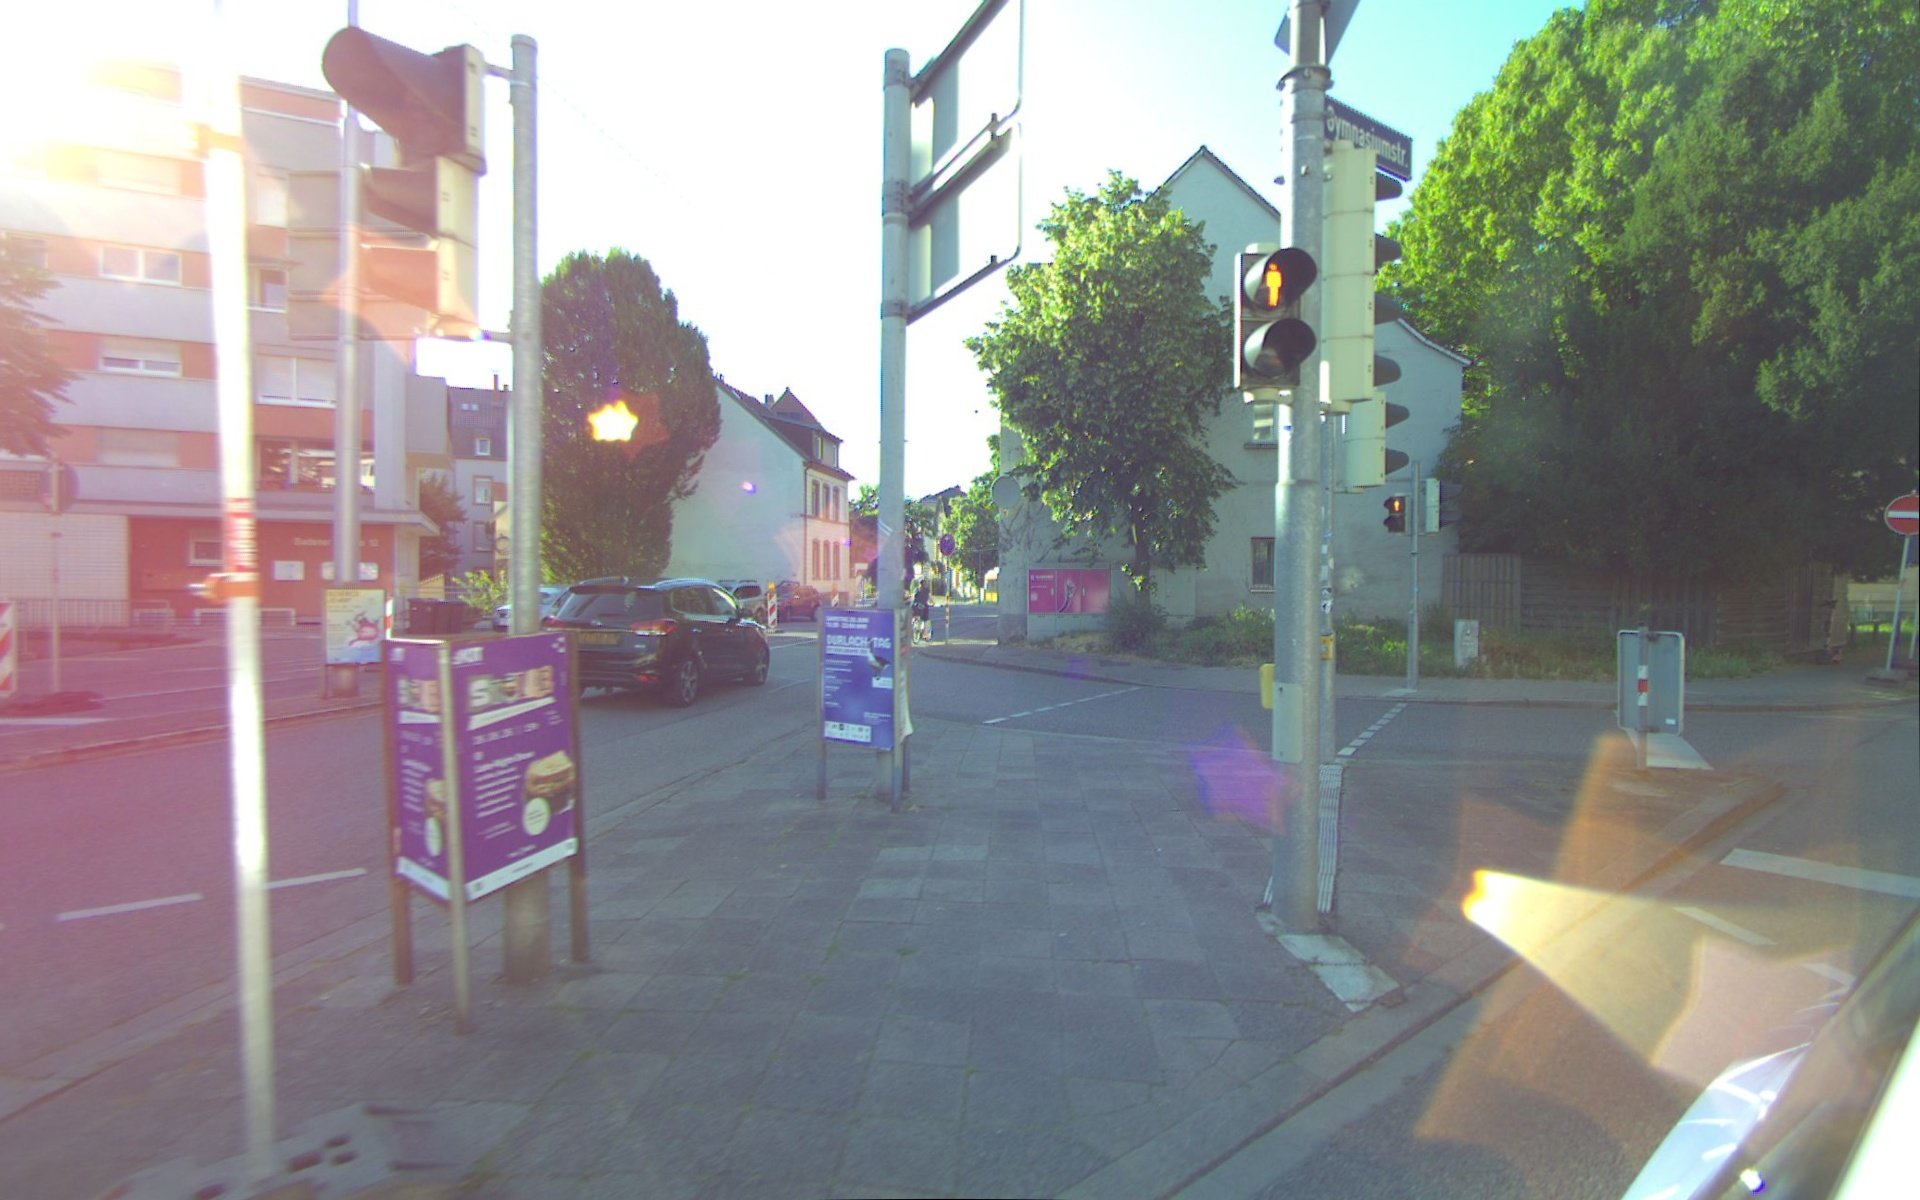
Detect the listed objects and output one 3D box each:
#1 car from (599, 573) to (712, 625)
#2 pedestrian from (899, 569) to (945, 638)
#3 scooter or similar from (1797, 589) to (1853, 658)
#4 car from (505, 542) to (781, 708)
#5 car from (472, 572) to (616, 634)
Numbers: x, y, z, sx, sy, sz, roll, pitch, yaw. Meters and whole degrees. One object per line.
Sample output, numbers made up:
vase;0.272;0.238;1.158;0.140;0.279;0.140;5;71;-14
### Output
car;-11.139;-0.029;37.341;1.974;1.803;4.203;0;0;18
pedestrian;-1.046;0.100;27.995;0.943;1.861;1.284;0;0;14
scooter or similar;15.990;0.420;18.705;1.235;1.216;0.439;0;3;-36
car;-4.122;0.270;14.008;1.967;1.838;4.242;3;1;8
car;-12.934;0.078;31.763;1.974;1.803;4.203;0;0;18
